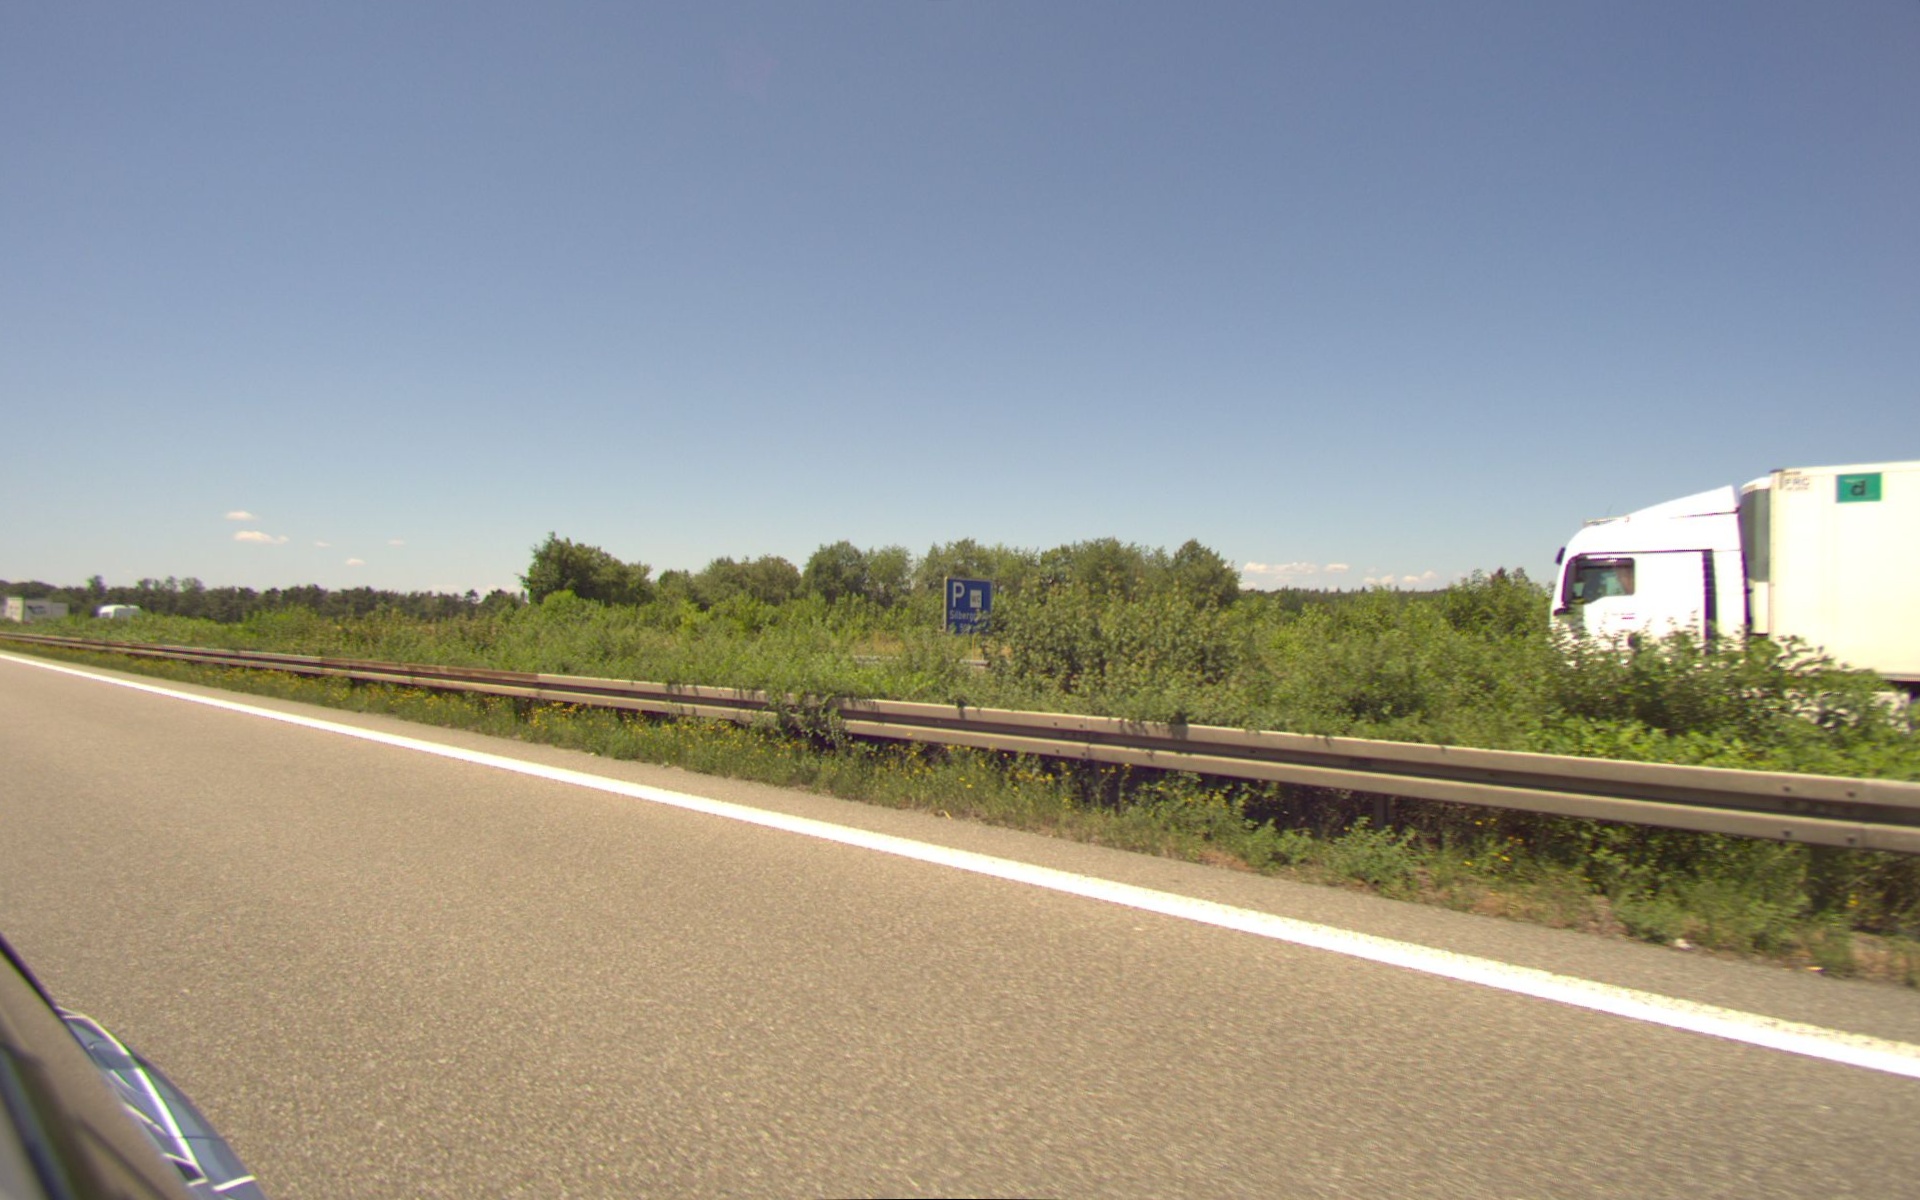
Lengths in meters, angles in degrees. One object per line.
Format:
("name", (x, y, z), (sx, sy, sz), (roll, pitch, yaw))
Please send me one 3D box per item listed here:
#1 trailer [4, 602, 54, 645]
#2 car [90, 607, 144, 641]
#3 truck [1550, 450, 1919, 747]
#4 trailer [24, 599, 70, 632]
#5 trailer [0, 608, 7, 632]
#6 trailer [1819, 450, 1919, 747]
("trailer", (-105.909, 2.635, 115.026), (13.861, 4.560, 2.791), (-1, 0, 42))
("car", (-64.154, 1.789, 76.983), (6.729, 2.412, 2.059), (-1, 0, 41))
("truck", (12.512, -0.015, 15.282), (5.749, 3.899, 2.903), (-1, 0, 41))
("trailer", (-119.039, 2.040, 131.871), (14.320, 4.089, 2.924), (-1, 0, 42))
("trailer", (-170.791, 3.593, 178.307), (13.951, 4.089, 3.026), (-1, 0, 42))
("trailer", (18.020, -0.106, 10.438), (13.903, 3.899, 2.903), (-1, 0, 41))
